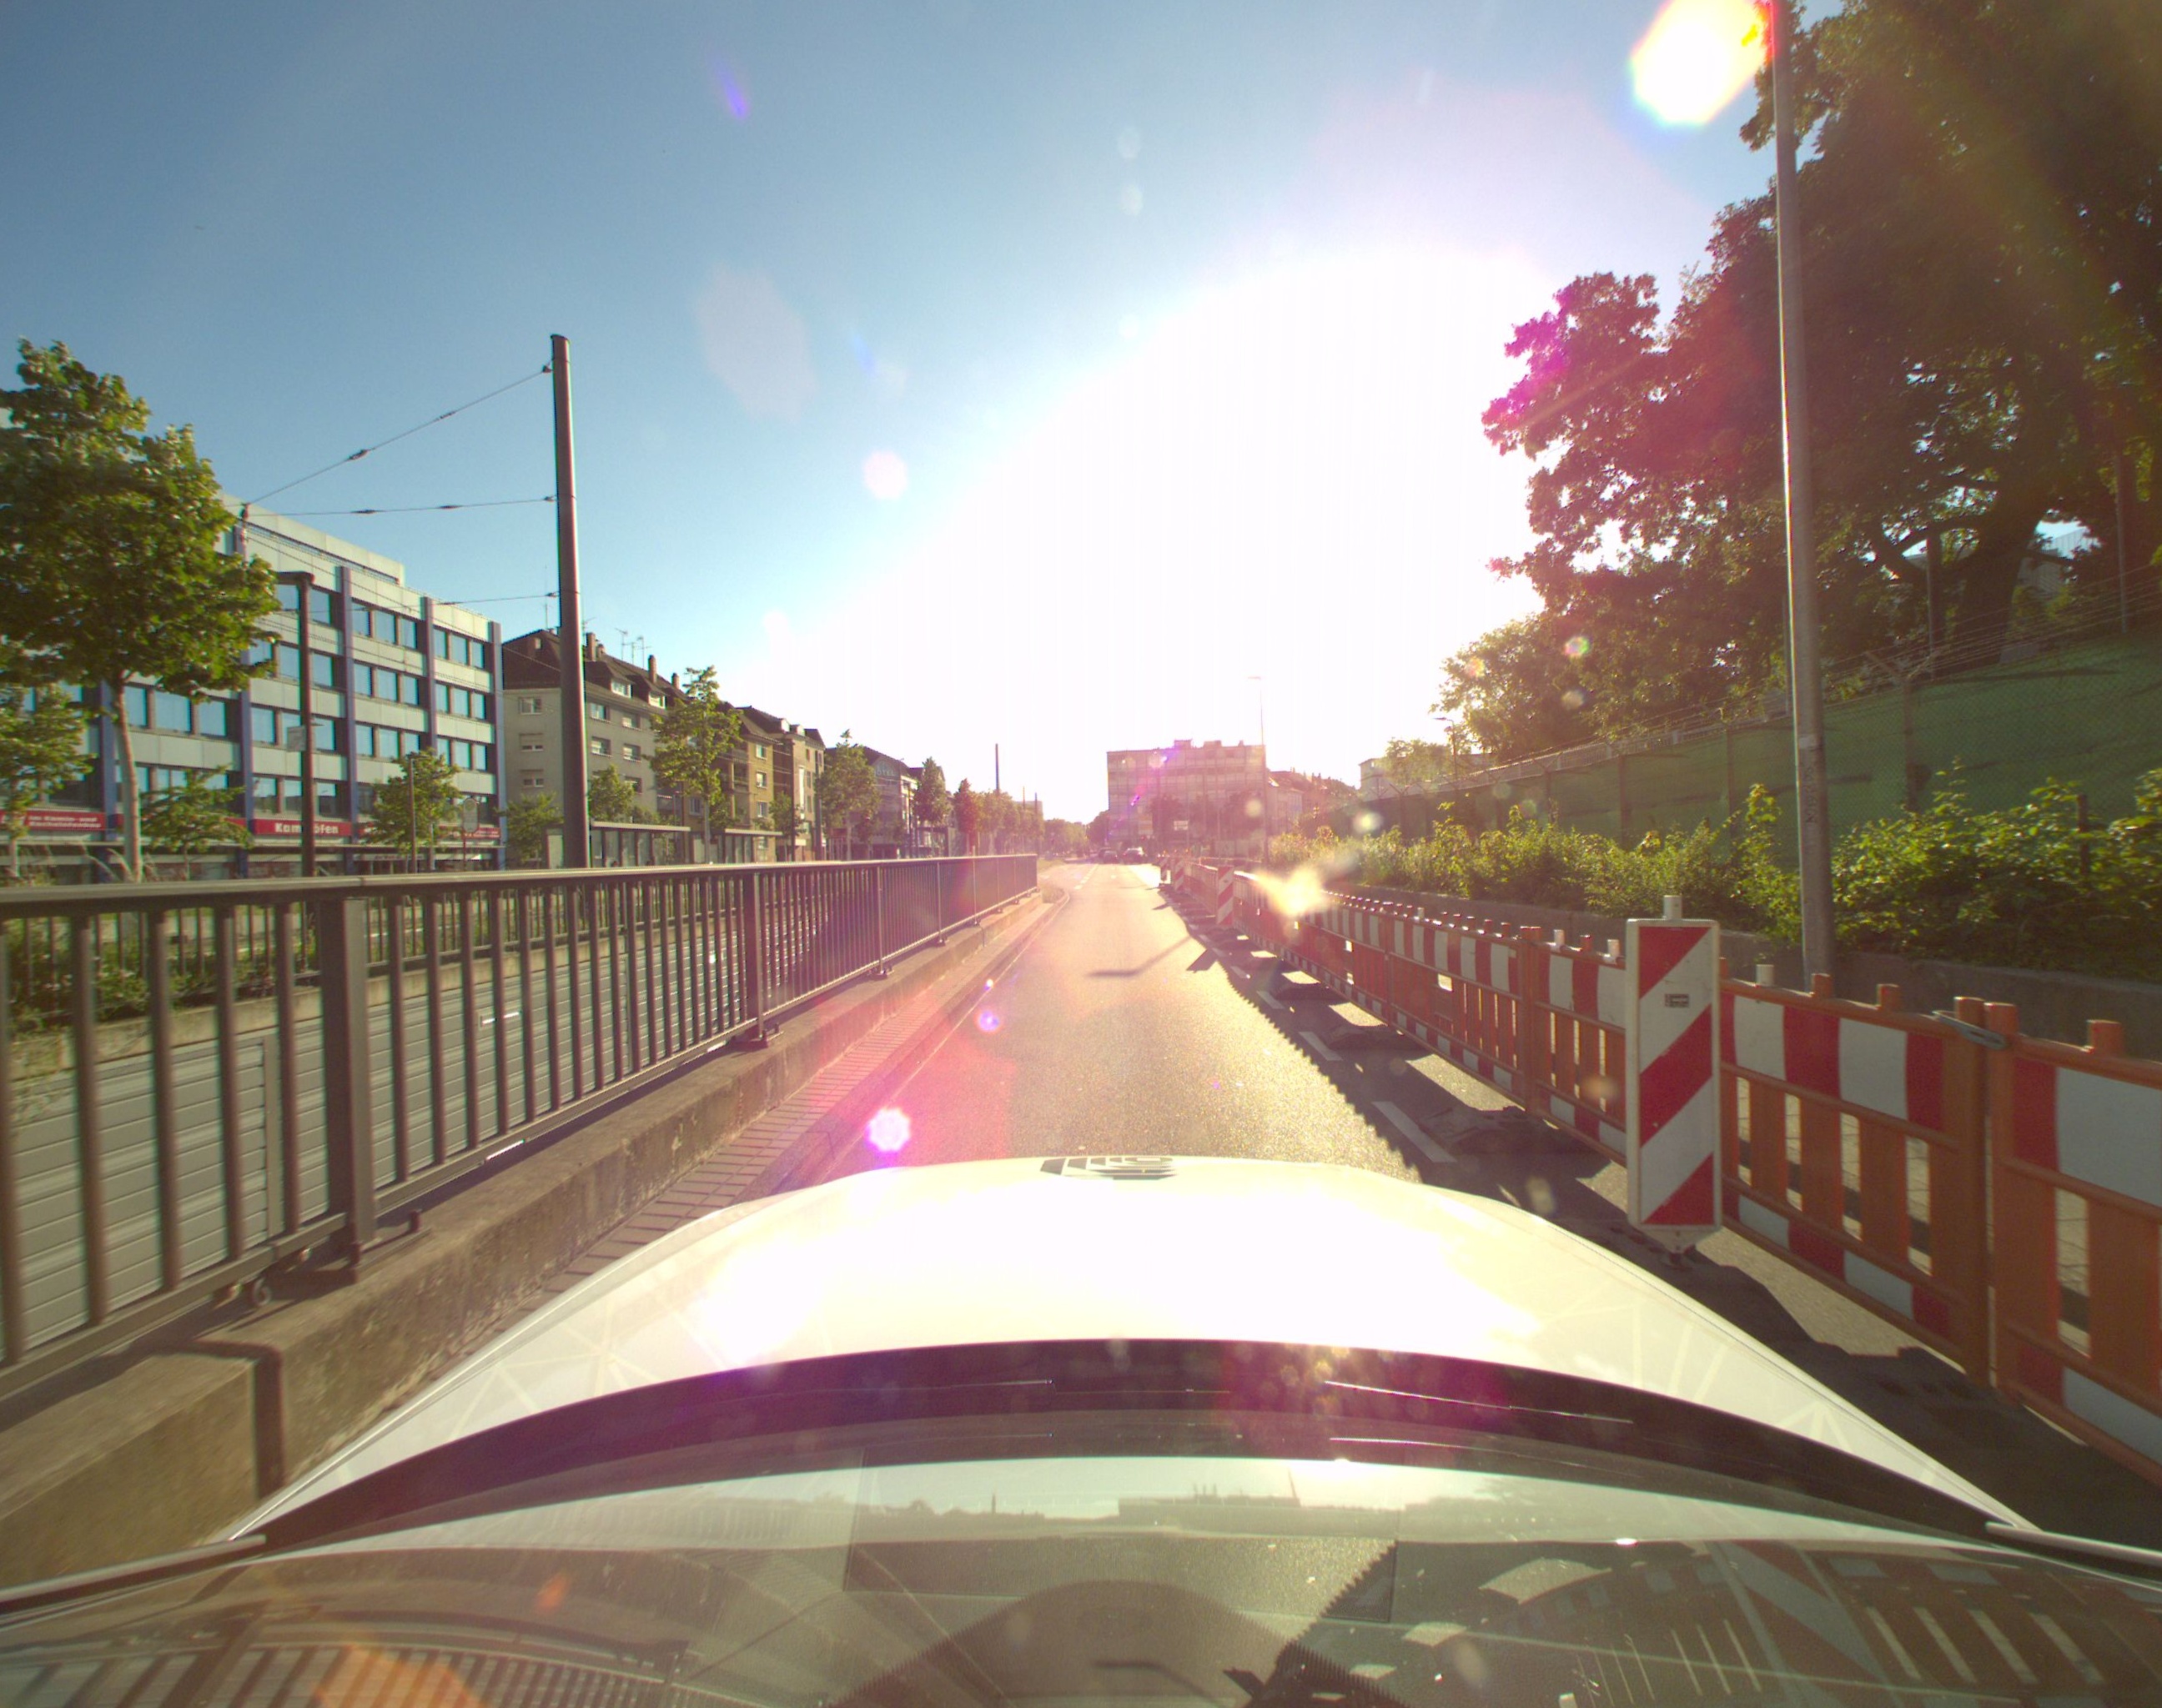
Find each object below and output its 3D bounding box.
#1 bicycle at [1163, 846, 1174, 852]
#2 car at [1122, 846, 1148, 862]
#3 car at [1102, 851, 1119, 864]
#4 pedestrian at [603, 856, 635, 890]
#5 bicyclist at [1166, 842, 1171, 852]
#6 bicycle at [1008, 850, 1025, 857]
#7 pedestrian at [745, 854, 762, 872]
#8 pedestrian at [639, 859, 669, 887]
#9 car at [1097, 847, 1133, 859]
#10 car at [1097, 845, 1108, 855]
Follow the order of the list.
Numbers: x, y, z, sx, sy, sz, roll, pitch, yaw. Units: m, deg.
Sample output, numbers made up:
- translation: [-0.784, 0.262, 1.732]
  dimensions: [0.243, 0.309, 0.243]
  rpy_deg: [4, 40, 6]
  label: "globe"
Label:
- translation: [14.678, -0.832, 136.668]
  dimensions: [1.775, 1.072, 0.533]
  rpy_deg: [-2, 0, -9]
  label: "bicycle"
- translation: [5.922, -0.033, 89.094]
  dimensions: [1.978, 1.693, 4.019]
  rpy_deg: [0, 2, 18]
  label: "car"
- translation: [3.387, 0.392, 94.518]
  dimensions: [1.738, 1.426, 3.999]
  rpy_deg: [-1, 0, 0]
  label: "car"
- translation: [-19.602, 0.799, 34.583]
  dimensions: [0.835, 1.410, 0.804]
  rpy_deg: [-2, 0, 1]
  label: "pedestrian"
- translation: [14.659, -1.161, 136.664]
  dimensions: [0.663, 1.712, 0.537]
  rpy_deg: [-2, 0, -8]
  label: "bicyclist"
- translation: [-9.098, -0.061, 114.955]
  dimensions: [2.216, 1.026, 0.683]
  rpy_deg: [-1, 0, 4]
  label: "bicycle"
- translation: [-18.894, 0.511, 46.979]
  dimensions: [0.625, 1.047, 0.794]
  rpy_deg: [-2, 0, 1]
  label: "pedestrian"
- translation: [-19.484, 0.856, 37.154]
  dimensions: [0.930, 1.197, 0.764]
  rpy_deg: [-2, 0, 1]
  label: "pedestrian"
- translation: [4.871, -0.141, 115.986]
  dimensions: [4.784, 1.750, 2.007]
  rpy_deg: [-1, 0, 13]
  label: "car"
- translation: [5.269, -0.958, 198.753]
  dimensions: [2.477, 2.392, 5.935]
  rpy_deg: [-3, 0, 1]
  label: "car"
